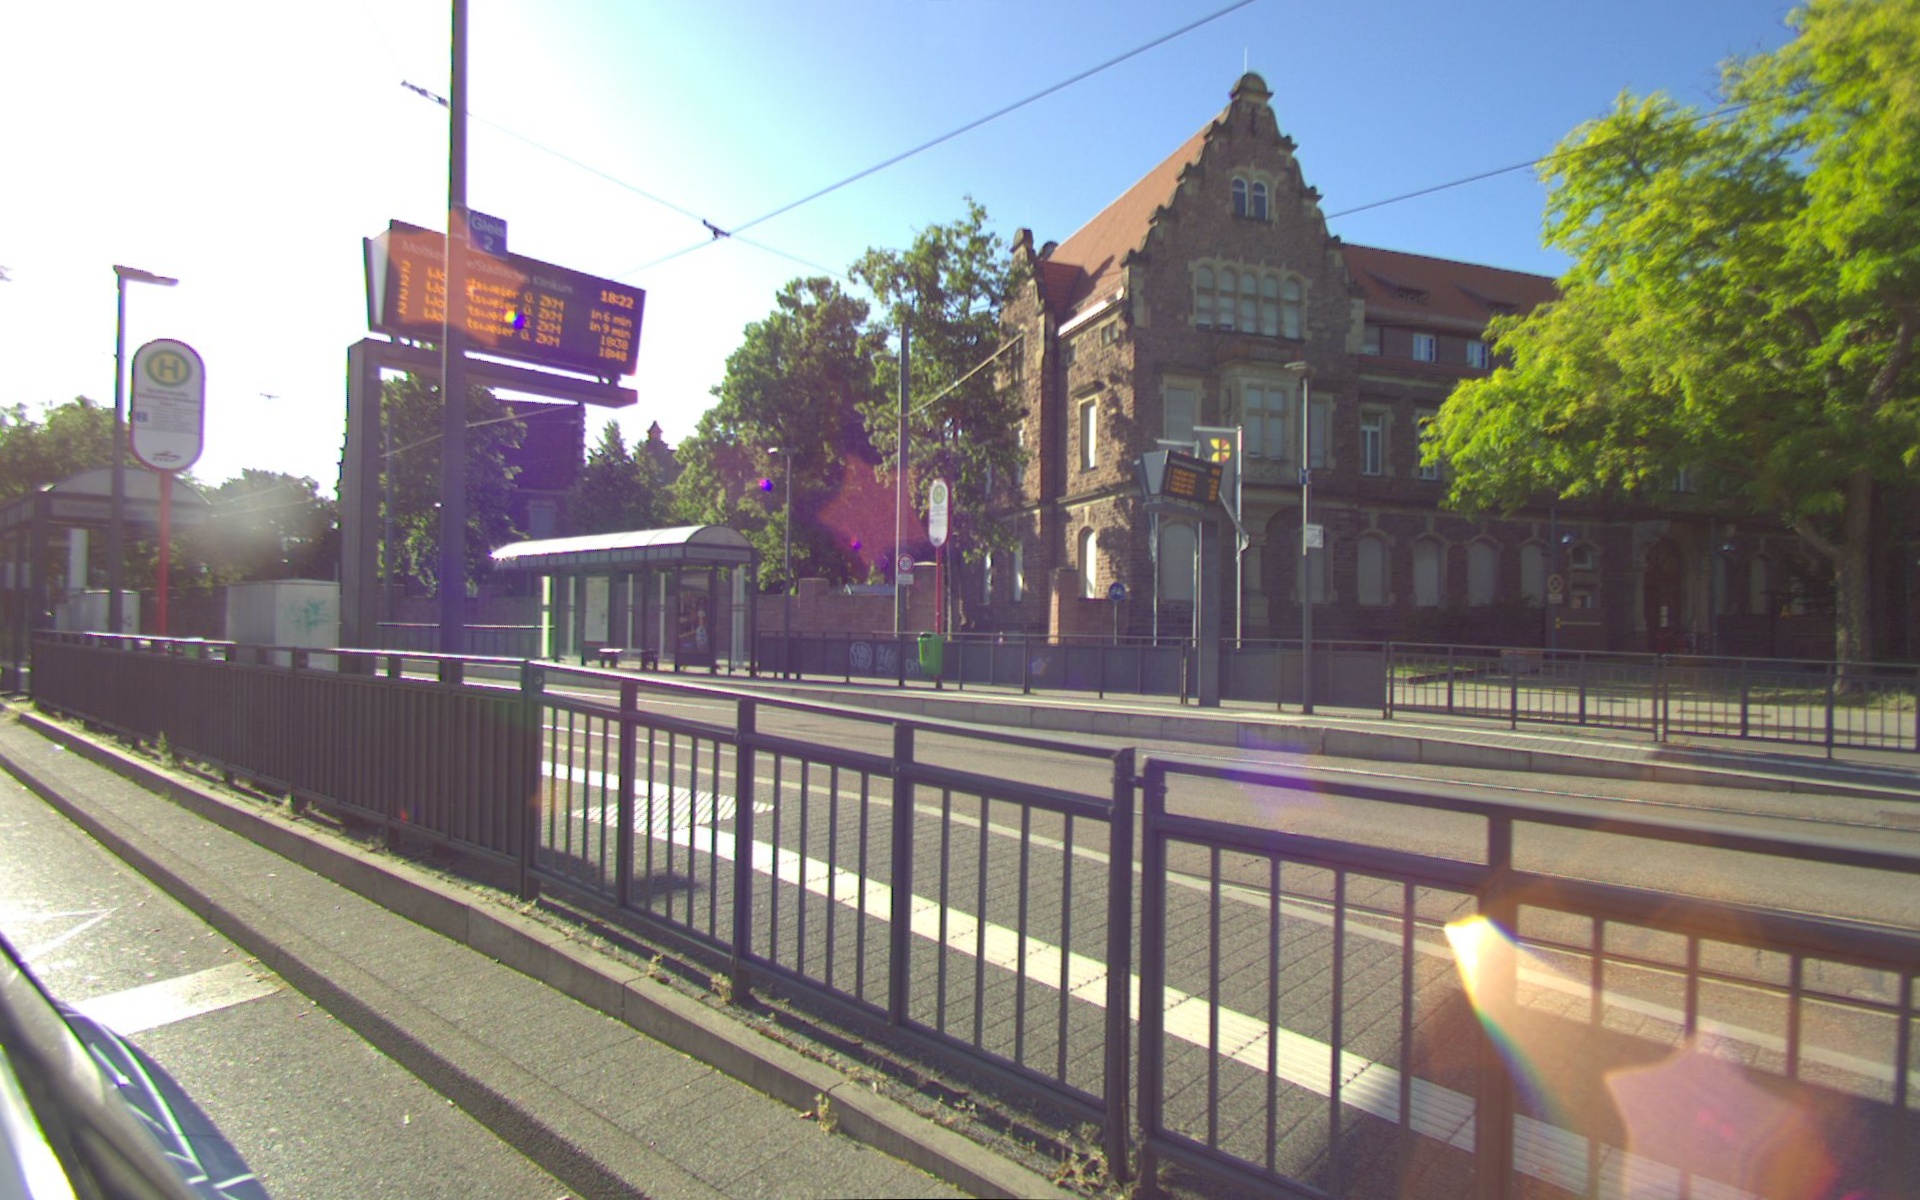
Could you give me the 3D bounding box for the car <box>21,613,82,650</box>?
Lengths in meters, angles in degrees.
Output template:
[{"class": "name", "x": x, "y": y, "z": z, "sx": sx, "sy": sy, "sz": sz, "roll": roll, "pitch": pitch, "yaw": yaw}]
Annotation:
[{"class": "car", "x": -42.826, "y": 1.457, "z": 47.666, "sx": 4.360, "sy": 1.689, "sz": 1.885, "roll": -1, "pitch": -2, "yaw": 45}]
